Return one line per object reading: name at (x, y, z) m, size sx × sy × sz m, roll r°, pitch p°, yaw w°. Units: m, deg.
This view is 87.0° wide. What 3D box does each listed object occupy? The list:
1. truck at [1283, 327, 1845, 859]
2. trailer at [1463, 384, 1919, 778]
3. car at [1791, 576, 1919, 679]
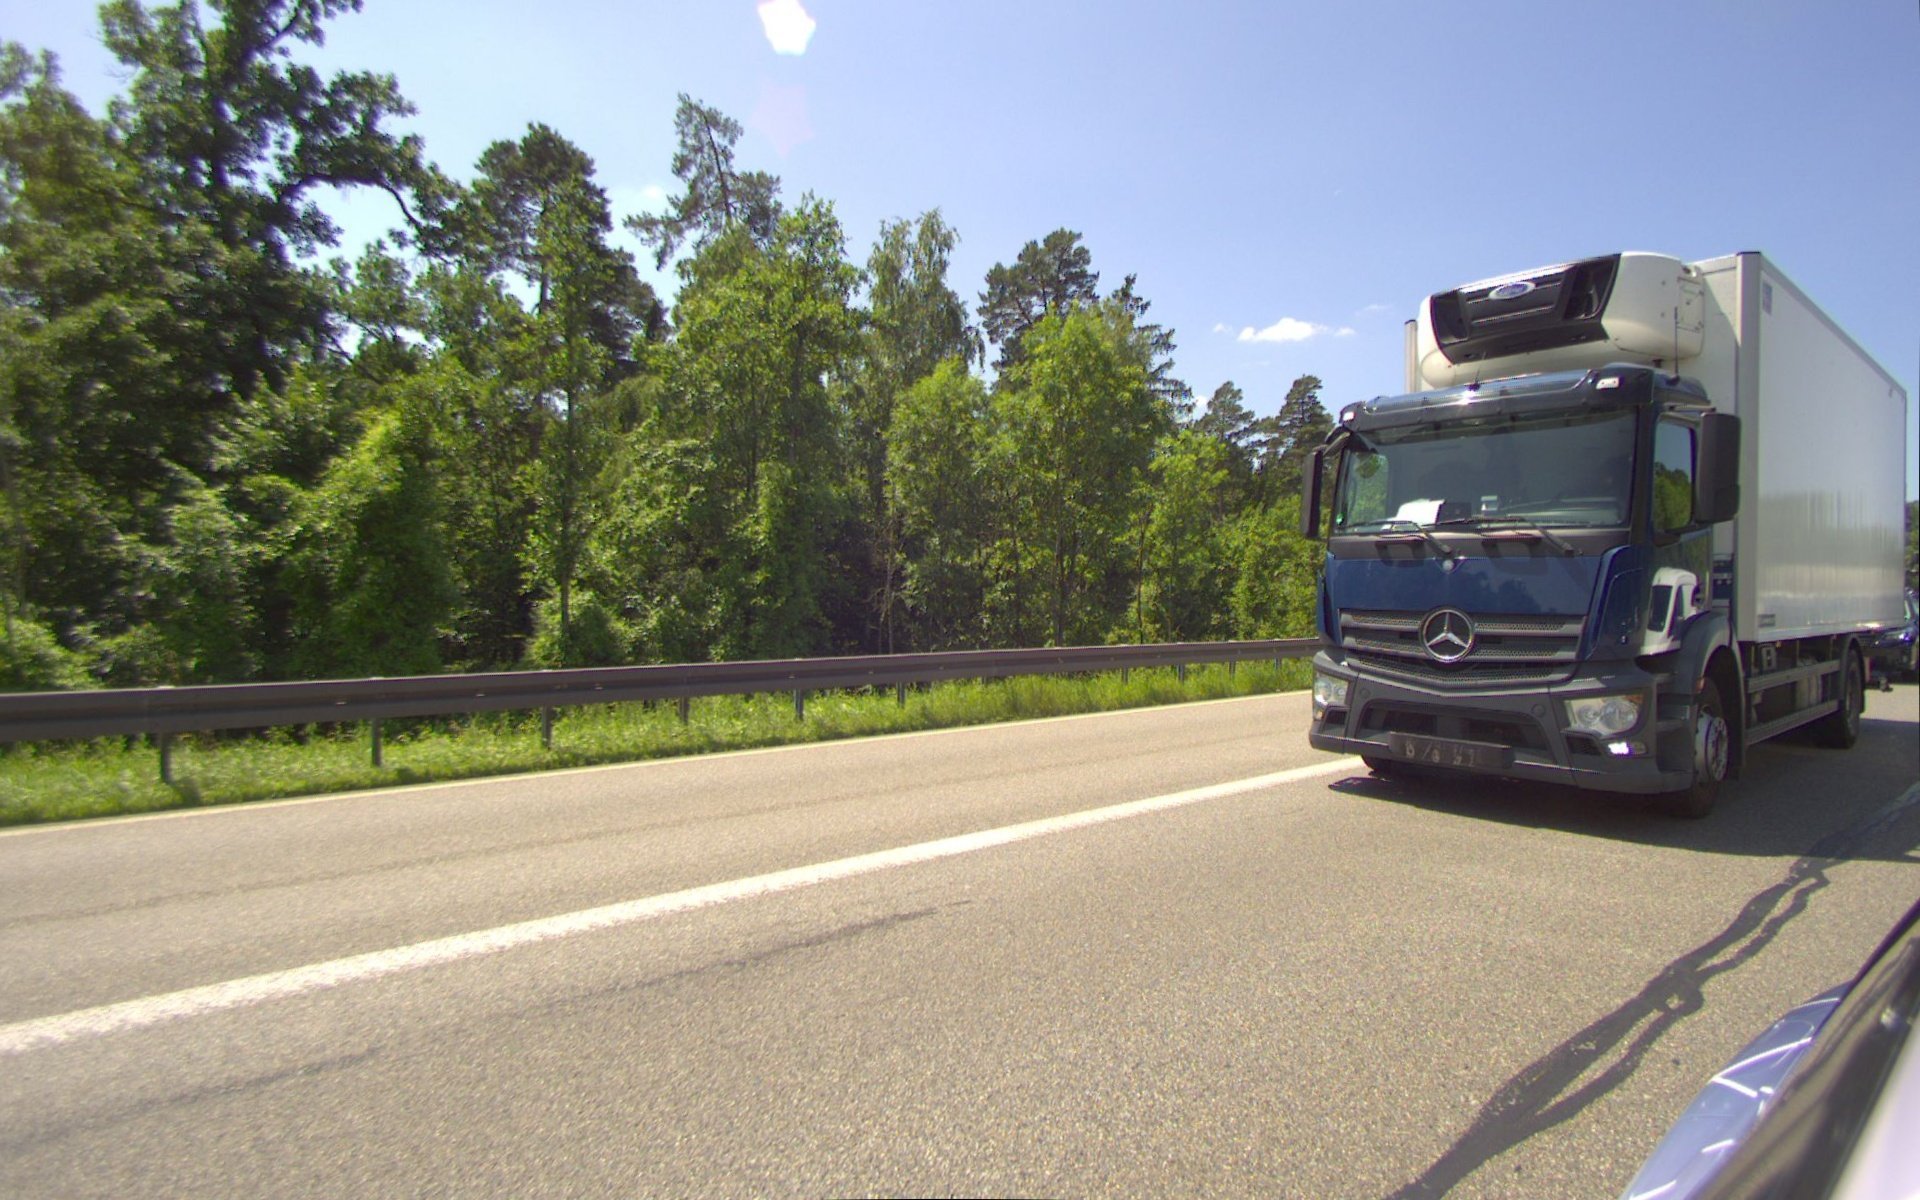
truck at (4.808, -0.115, 7.945) m, size 4.031 × 2.976 × 2.562 m, roll -2°, pitch 2°, yaw -39°
trailer at (8.539, -0.194, 10.994) m, size 7.740 × 2.935 × 2.561 m, roll -1°, pitch 1°, yaw -39°
car at (17.677, 0.424, 19.466) m, size 4.534 × 1.713 × 1.996 m, roll -2°, pitch 3°, yaw -43°
